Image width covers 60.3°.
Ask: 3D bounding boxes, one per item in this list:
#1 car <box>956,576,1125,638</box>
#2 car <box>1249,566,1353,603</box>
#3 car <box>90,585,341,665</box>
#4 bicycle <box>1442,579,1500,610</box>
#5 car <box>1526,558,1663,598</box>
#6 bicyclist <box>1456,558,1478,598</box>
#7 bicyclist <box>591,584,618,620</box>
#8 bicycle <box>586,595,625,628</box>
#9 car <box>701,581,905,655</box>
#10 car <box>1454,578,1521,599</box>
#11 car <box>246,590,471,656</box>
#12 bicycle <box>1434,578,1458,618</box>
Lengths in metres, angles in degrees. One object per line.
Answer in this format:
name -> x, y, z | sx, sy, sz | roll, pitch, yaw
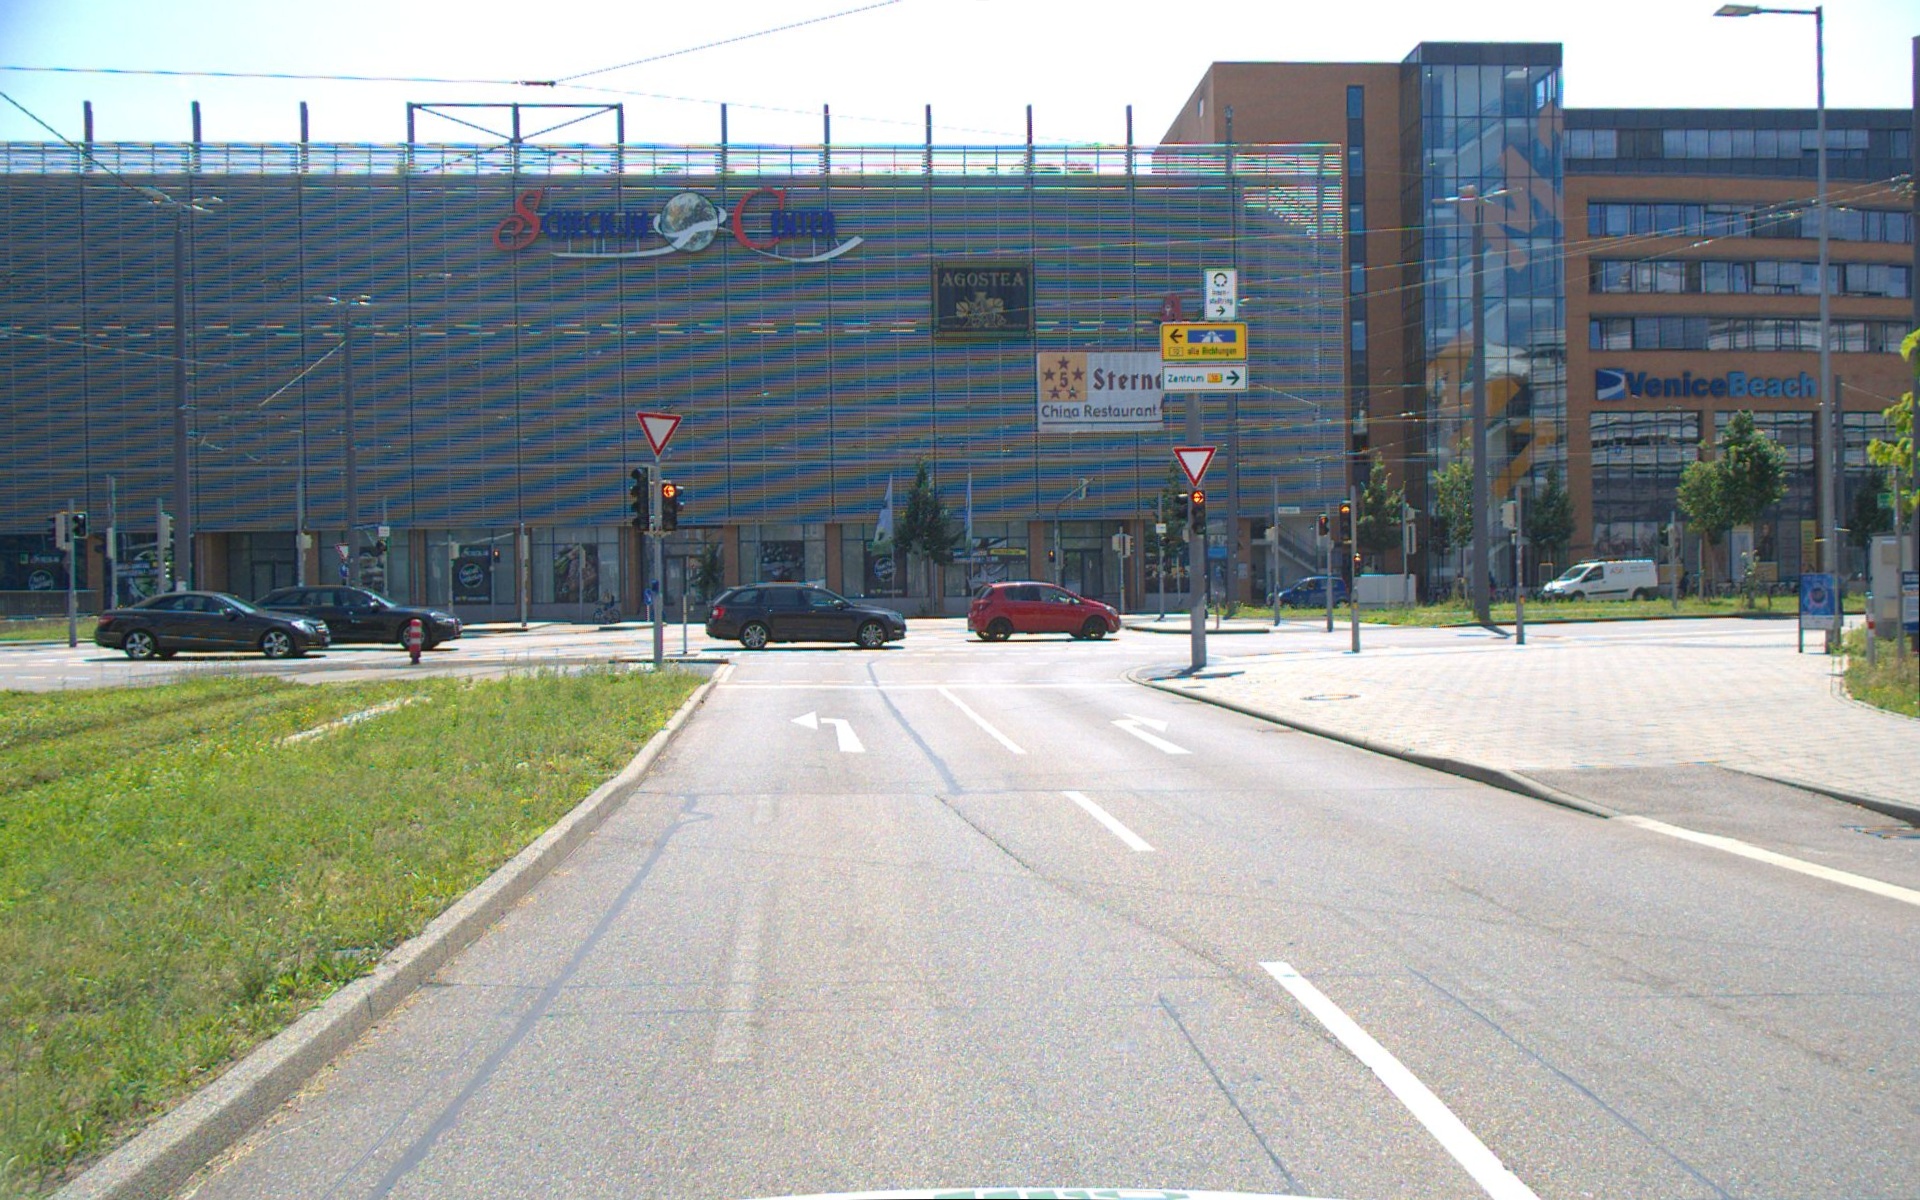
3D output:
car -> 2.033, 0.170, 42.315 | 4.048, 1.534, 1.839 | 0, 1, -8
car -> 14.375, -0.656, 69.789 | 3.911, 1.565, 1.879 | 0, 1, -7
car -> -15.738, 0.505, 35.184 | 4.463, 1.604, 1.997 | 0, 1, -8
bicycle -> 26.276, -0.267, 85.066 | 2.792, 1.584, 0.704 | 0, 1, -2
car -> 27.800, -0.969, 72.489 | 5.364, 1.697, 1.995 | 0, 1, -10
bicyclist -> 26.054, -1.126, 84.985 | 0.894, 2.049, 0.748 | 0, 1, -3
bicyclist -> -16.121, 0.094, 75.066 | 1.018, 1.599, 0.778 | 0, 1, 2
bicycle -> -16.114, 0.490, 75.279 | 1.039, 1.414, 3.025 | 0, 1, 2
car -> -3.610, 0.382, 37.781 | 4.446, 1.534, 1.837 | -1, 1, -12
car -> 26.574, -0.569, 83.385 | 2.937, 1.053, 1.348 | 0, 1, -8
car -> -14.106, 0.518, 39.018 | 4.674, 1.486, 1.885 | 0, 1, -8
bicycle -> 25.743, -0.115, 87.692 | 0.475, 2.049, 2.346 | 0, 1, -2
